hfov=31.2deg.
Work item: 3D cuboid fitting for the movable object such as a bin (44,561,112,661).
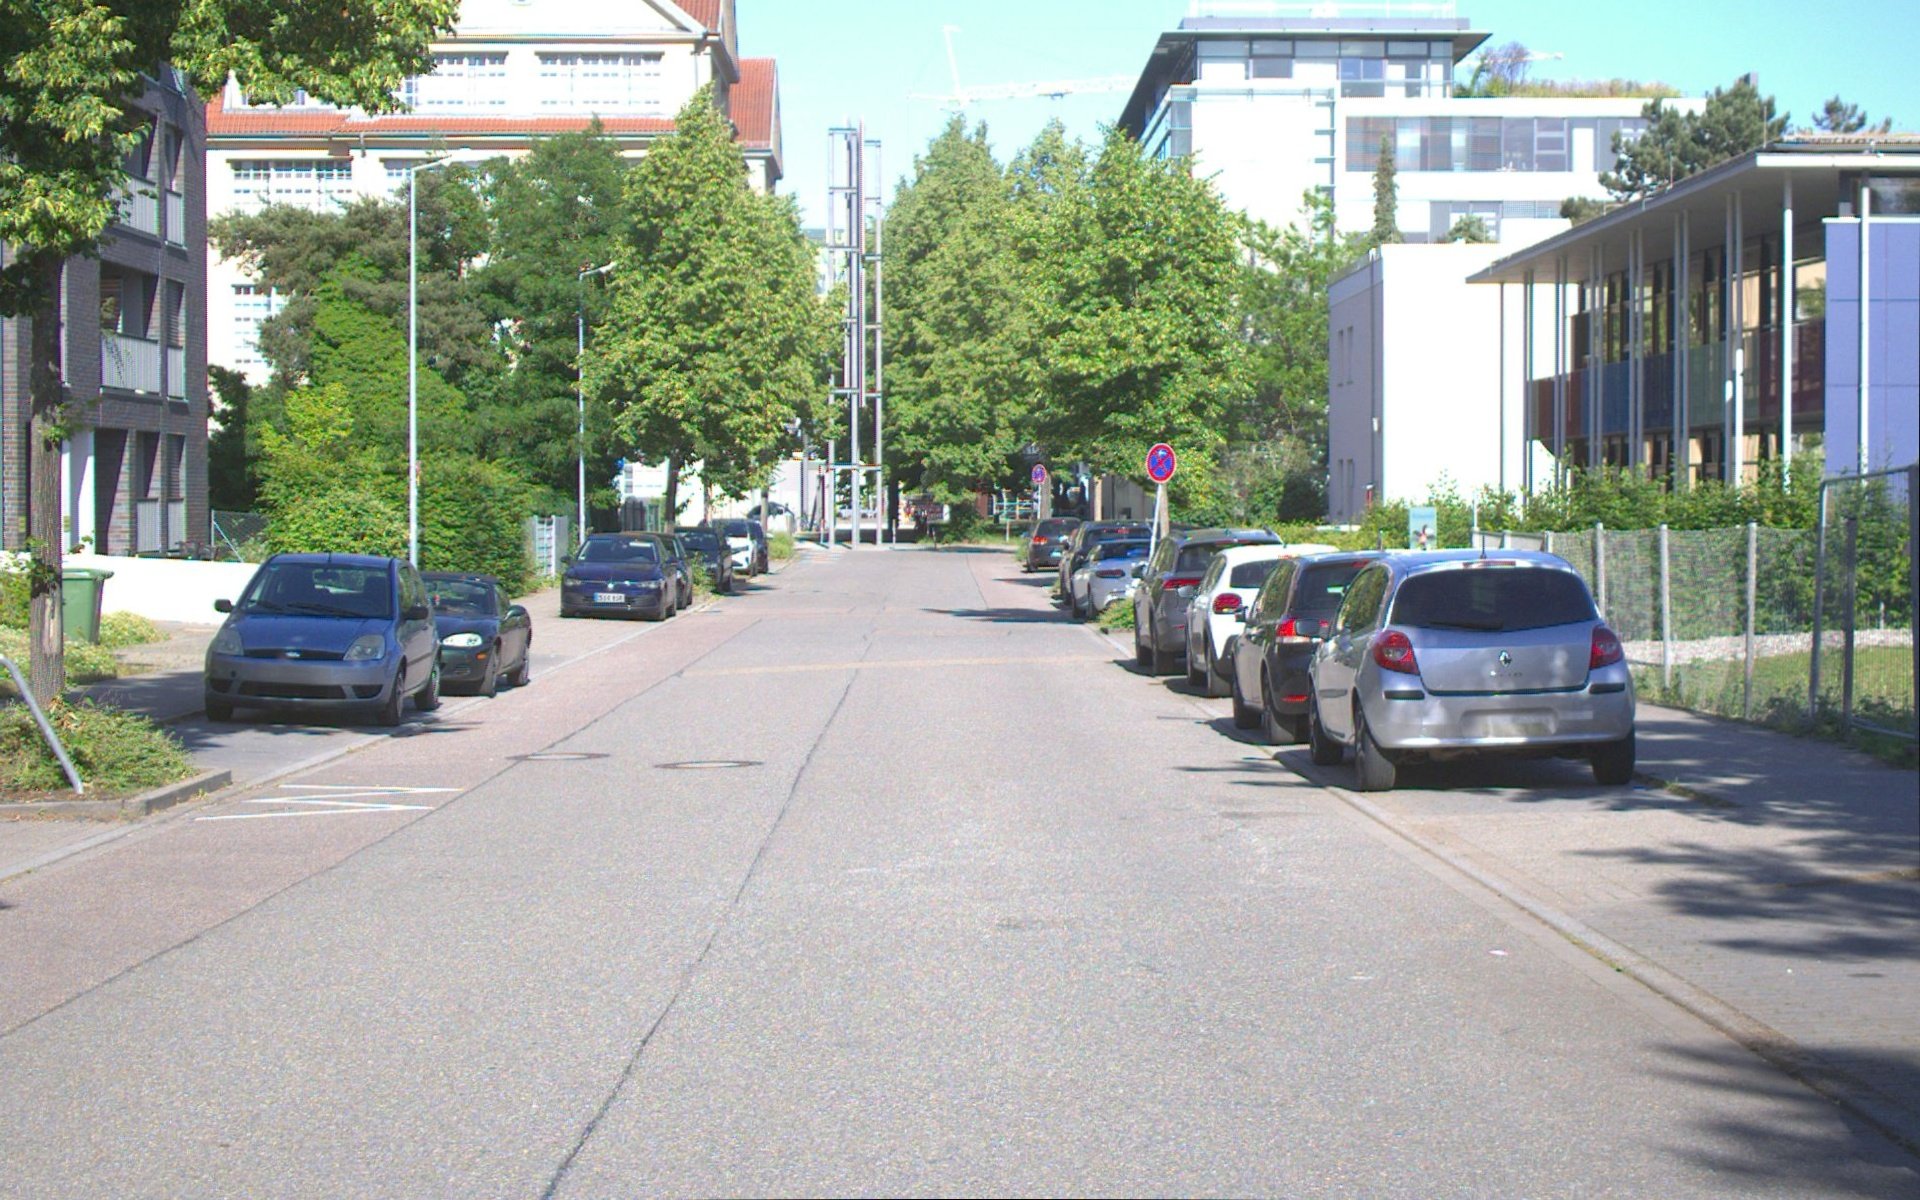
[{"bbox_3d":[-9.855,0.122,38.413,0.607,1.087,0.637,0,2,-2],"label":"movable object such as a bin"}]

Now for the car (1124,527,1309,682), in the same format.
[{"bbox_3d":[2.963,0.003,40.461,1.725,1.646,4.326,-2,1,-1],"label":"car"}]

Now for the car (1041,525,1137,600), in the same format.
[{"bbox_3d":[2.689,-0.804,72.368,1.834,1.510,3.881,0,1,-1],"label":"car"}]

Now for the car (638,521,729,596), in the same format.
[{"bbox_3d":[-6.070,-0.932,75.694,1.694,1.599,3.942,0,1,0],"label":"car"}]

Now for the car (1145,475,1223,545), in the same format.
[{"bbox_3d":[6.619,-2.651,101.910,2.024,2.007,4.000,0,1,0],"label":"car"}]

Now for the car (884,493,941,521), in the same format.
[{"bbox_3d":[-3.373,-6.619,244.438,3.987,2.006,2.000,0,2,1],"label":"car"}]

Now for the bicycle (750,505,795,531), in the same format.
[{"bbox_3d":[-6.193,-2.705,113.514,1.467,0.839,0.336,0,2,-4],"label":"bicycle"}]

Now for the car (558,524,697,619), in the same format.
[{"bbox_3d":[-5.721,-0.513,59.557,1.762,1.522,4.000,3,1,3],"label":"car"}]

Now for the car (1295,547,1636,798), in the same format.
[{"bbox_3d":[3.233,0.412,22.670,1.662,1.508,4.000,0,1,0],"label":"car"}]

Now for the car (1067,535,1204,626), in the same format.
[{"bbox_3d":[2.972,-0.356,58.964,1.829,1.417,4.234,-3,1,-3],"label":"car"}]

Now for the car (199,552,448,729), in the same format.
[{"bbox_3d":[-5.657,0.313,30.937,1.611,1.460,3.875,0,1,-2],"label":"car"}]

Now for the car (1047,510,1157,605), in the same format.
[{"bbox_3d":[2.712,-0.850,66.413,1.821,1.713,4.120,-2,1,-1],"label":"car"}]

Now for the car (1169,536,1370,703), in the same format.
[{"bbox_3d":[3.135,0.156,35.433,1.679,1.536,3.849,0,2,0],"label":"car"}]

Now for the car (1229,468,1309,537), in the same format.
[{"bbox_3d":[9.151,-2.878,102.033,1.993,2.007,4.000,0,1,0],"label":"car"}]

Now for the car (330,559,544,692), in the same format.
[{"bbox_3d":[-5.463,0.234,36.318,1.599,1.213,3.875,2,2,0],"label":"car"}]

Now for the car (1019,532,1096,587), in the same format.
[{"bbox_3d":[2.689,-1.134,95.604,1.993,1.481,4.000,0,1,0],"label":"car"}]

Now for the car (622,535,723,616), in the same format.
[{"bbox_3d":[-5.446,-0.489,65.423,1.630,1.496,3.578,0,1,0],"label":"car"}]

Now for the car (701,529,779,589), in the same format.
[{"bbox_3d":[-5.684,-1.078,89.085,1.777,1.525,4.000,0,1,0],"label":"car"}]

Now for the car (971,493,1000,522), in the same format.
[{"bbox_3d":[1.820,-6.629,245.771,1.993,2.006,4.001,0,2,0],"label":"car"}]

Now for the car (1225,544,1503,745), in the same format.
[{"bbox_3d":[3.151,0.307,27.521,1.687,1.489,4.078,0,1,-1],"label":"car"}]
